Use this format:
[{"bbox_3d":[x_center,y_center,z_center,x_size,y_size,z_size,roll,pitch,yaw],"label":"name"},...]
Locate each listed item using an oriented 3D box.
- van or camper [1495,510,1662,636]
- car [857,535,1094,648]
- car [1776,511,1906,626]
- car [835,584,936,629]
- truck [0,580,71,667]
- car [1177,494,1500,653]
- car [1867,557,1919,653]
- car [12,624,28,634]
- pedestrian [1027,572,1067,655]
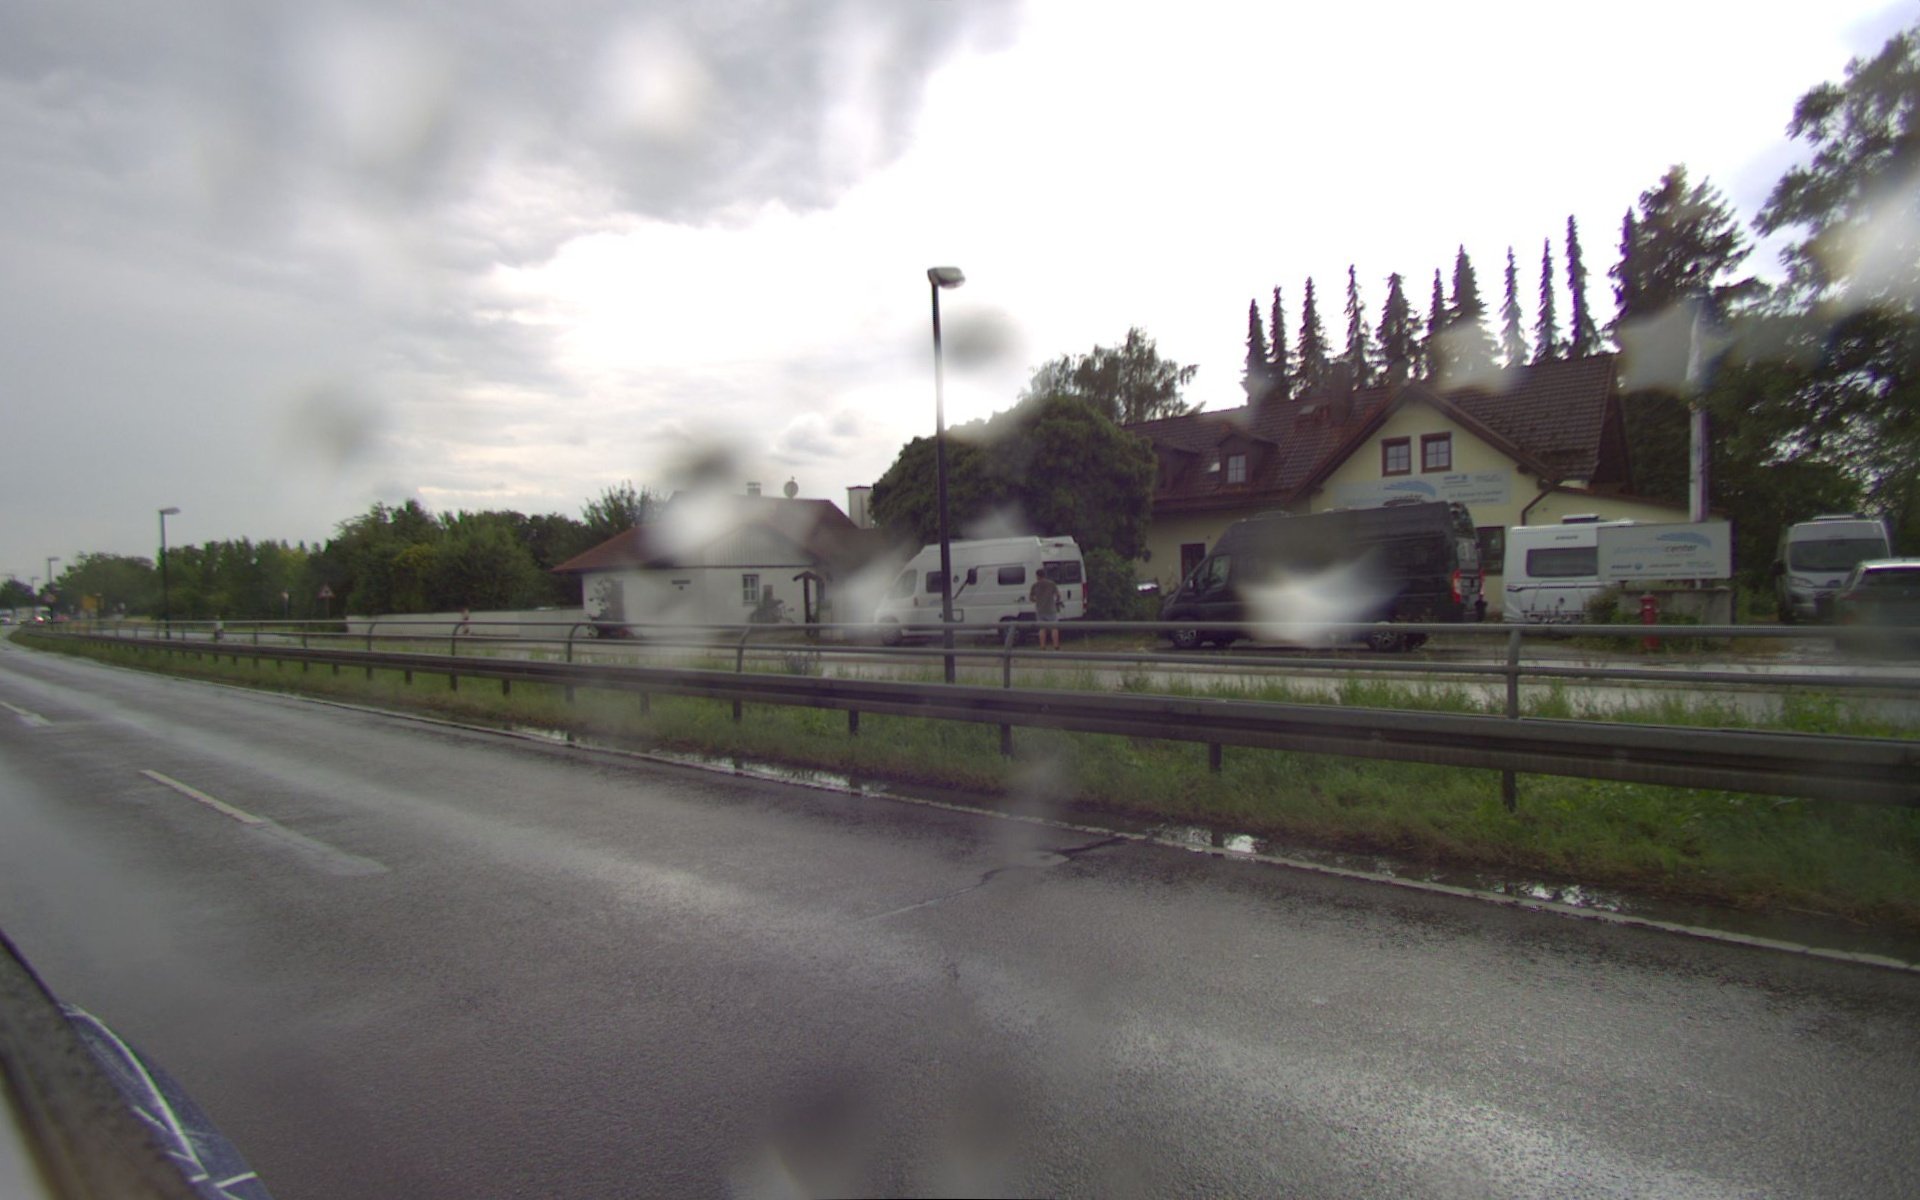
[{"bbox_3d":[14.906,-0.640,24.169,2.559,2.611,6.162,-2,1,39],"label":"van or camper"},{"bbox_3d":[0.272,-0.164,26.079,6.014,2.600,2.215,-2,1,40],"label":"car"},{"bbox_3d":[21.075,-0.735,24.320,2.090,2.435,6.030,-2,1,40],"label":"car"},{"bbox_3d":[-2.473,0.224,33.322,3.269,1.366,1.433,-1,1,42],"label":"car"},{"bbox_3d":[-59.066,1.456,64.054,7.782,5.071,3.214,-1,1,42],"label":"truck"},{"bbox_3d":[7.482,-0.446,20.339,5.566,2.783,2.360,-2,1,39],"label":"car"},{"bbox_3d":[16.734,0.023,17.485,1.540,1.507,3.843,-2,1,42],"label":"car"},{"bbox_3d":[-174.135,5.421,187.401,4.026,1.746,1.788,-1,1,42],"label":"car"},{"bbox_3d":[1.855,0.281,21.594,0.509,1.723,0.651,-2,1,-41],"label":"pedestrian"}]
